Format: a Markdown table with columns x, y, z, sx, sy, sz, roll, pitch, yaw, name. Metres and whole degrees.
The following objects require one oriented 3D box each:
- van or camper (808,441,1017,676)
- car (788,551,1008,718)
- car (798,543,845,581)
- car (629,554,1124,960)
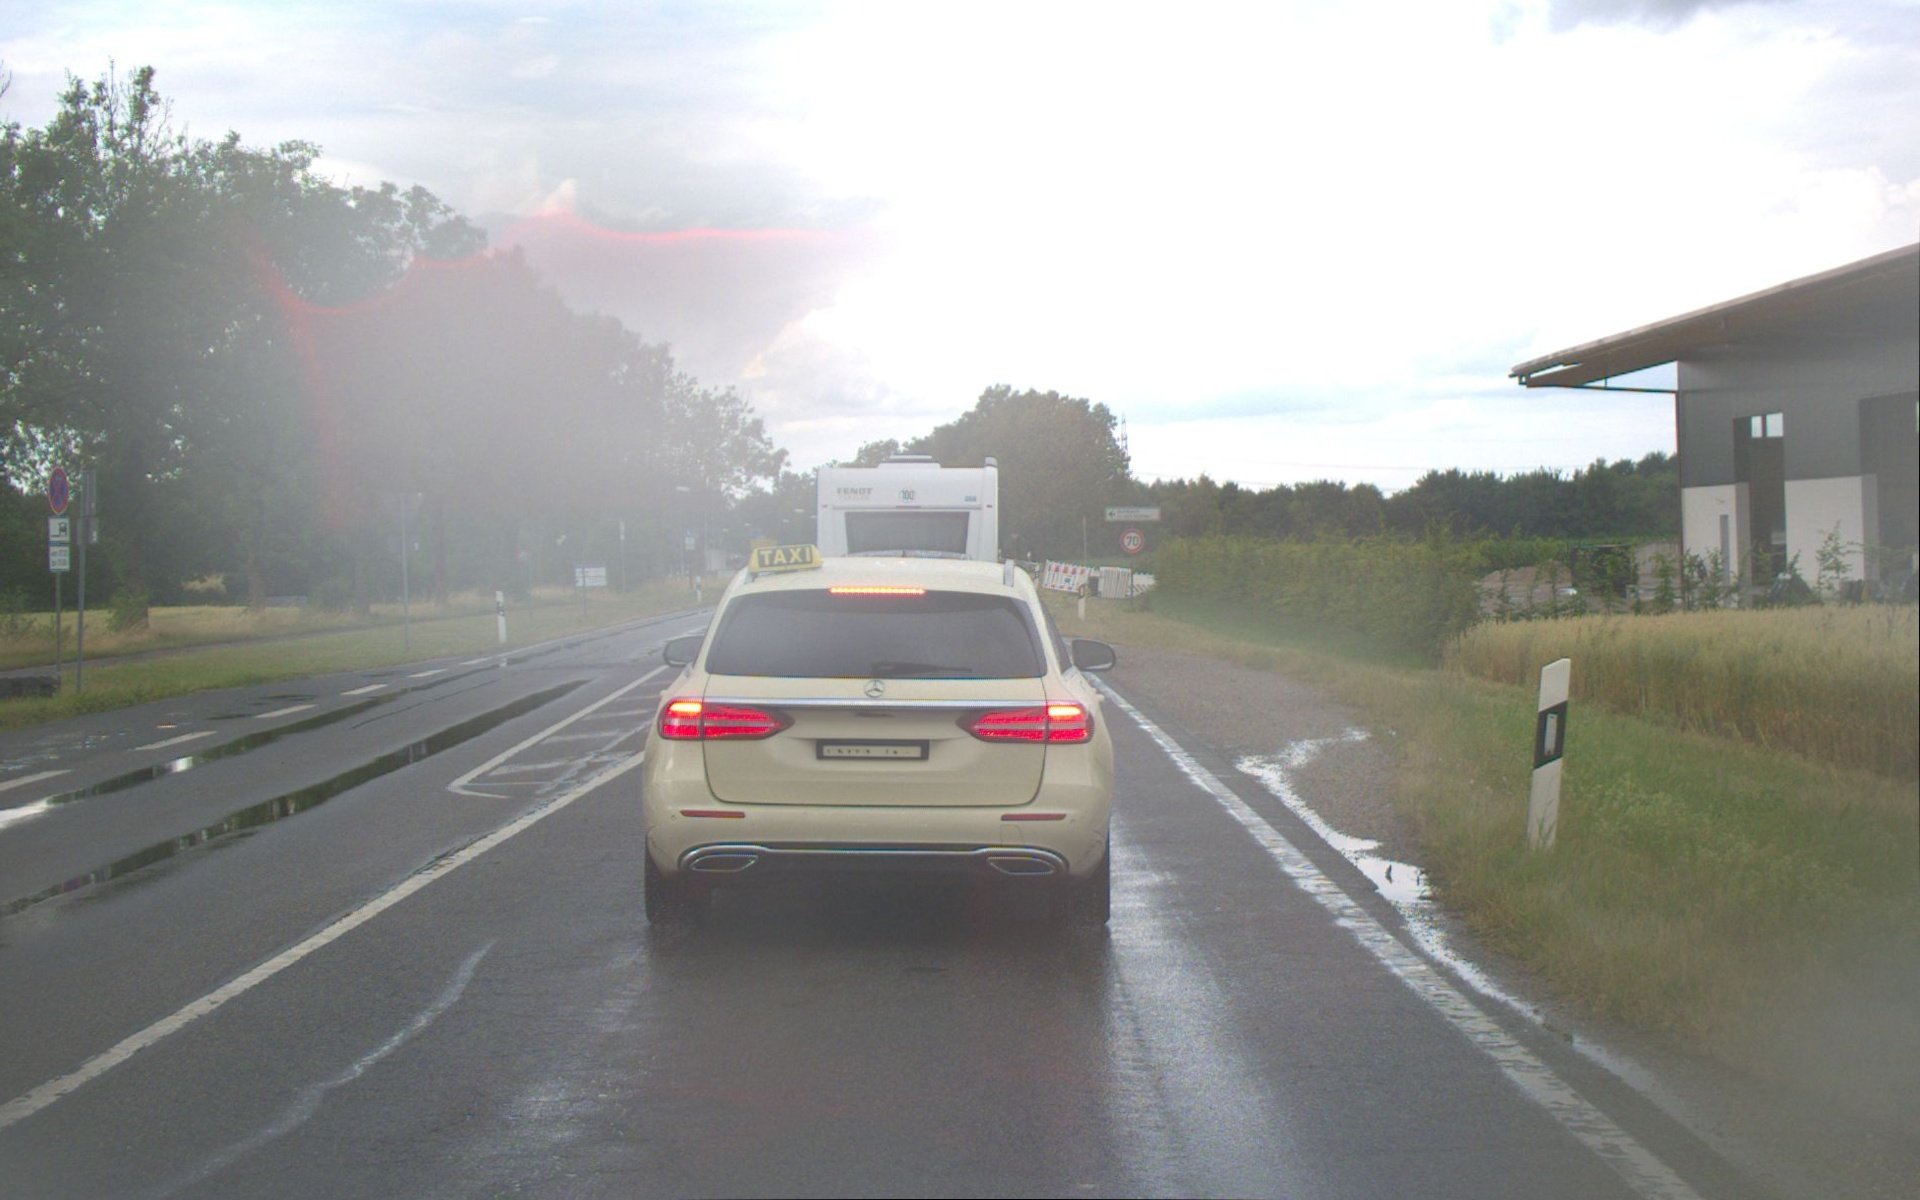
| x | y | z | sx | sy | sz | roll | pitch | yaw | name |
| --- | --- | --- | --- | --- | --- | --- | --- | --- | --- |
| -0.567 | -0.557 | 45.491 | 2.497 | 2.821 | 5.934 | -2 | 1 | 0 | van or camper |
| -0.572 | 0.269 | 31.682 | 1.894 | 1.424 | 3.928 | 0 | 1 | -1 | car |
| -6.226 | -1.720 | 154.474 | 1.916 | 1.626 | 4.357 | -2 | 1 | -1 | car |
| -0.305 | 0.544 | 14.519 | 1.797 | 1.459 | 4.031 | 0 | 1 | 0 | car |
